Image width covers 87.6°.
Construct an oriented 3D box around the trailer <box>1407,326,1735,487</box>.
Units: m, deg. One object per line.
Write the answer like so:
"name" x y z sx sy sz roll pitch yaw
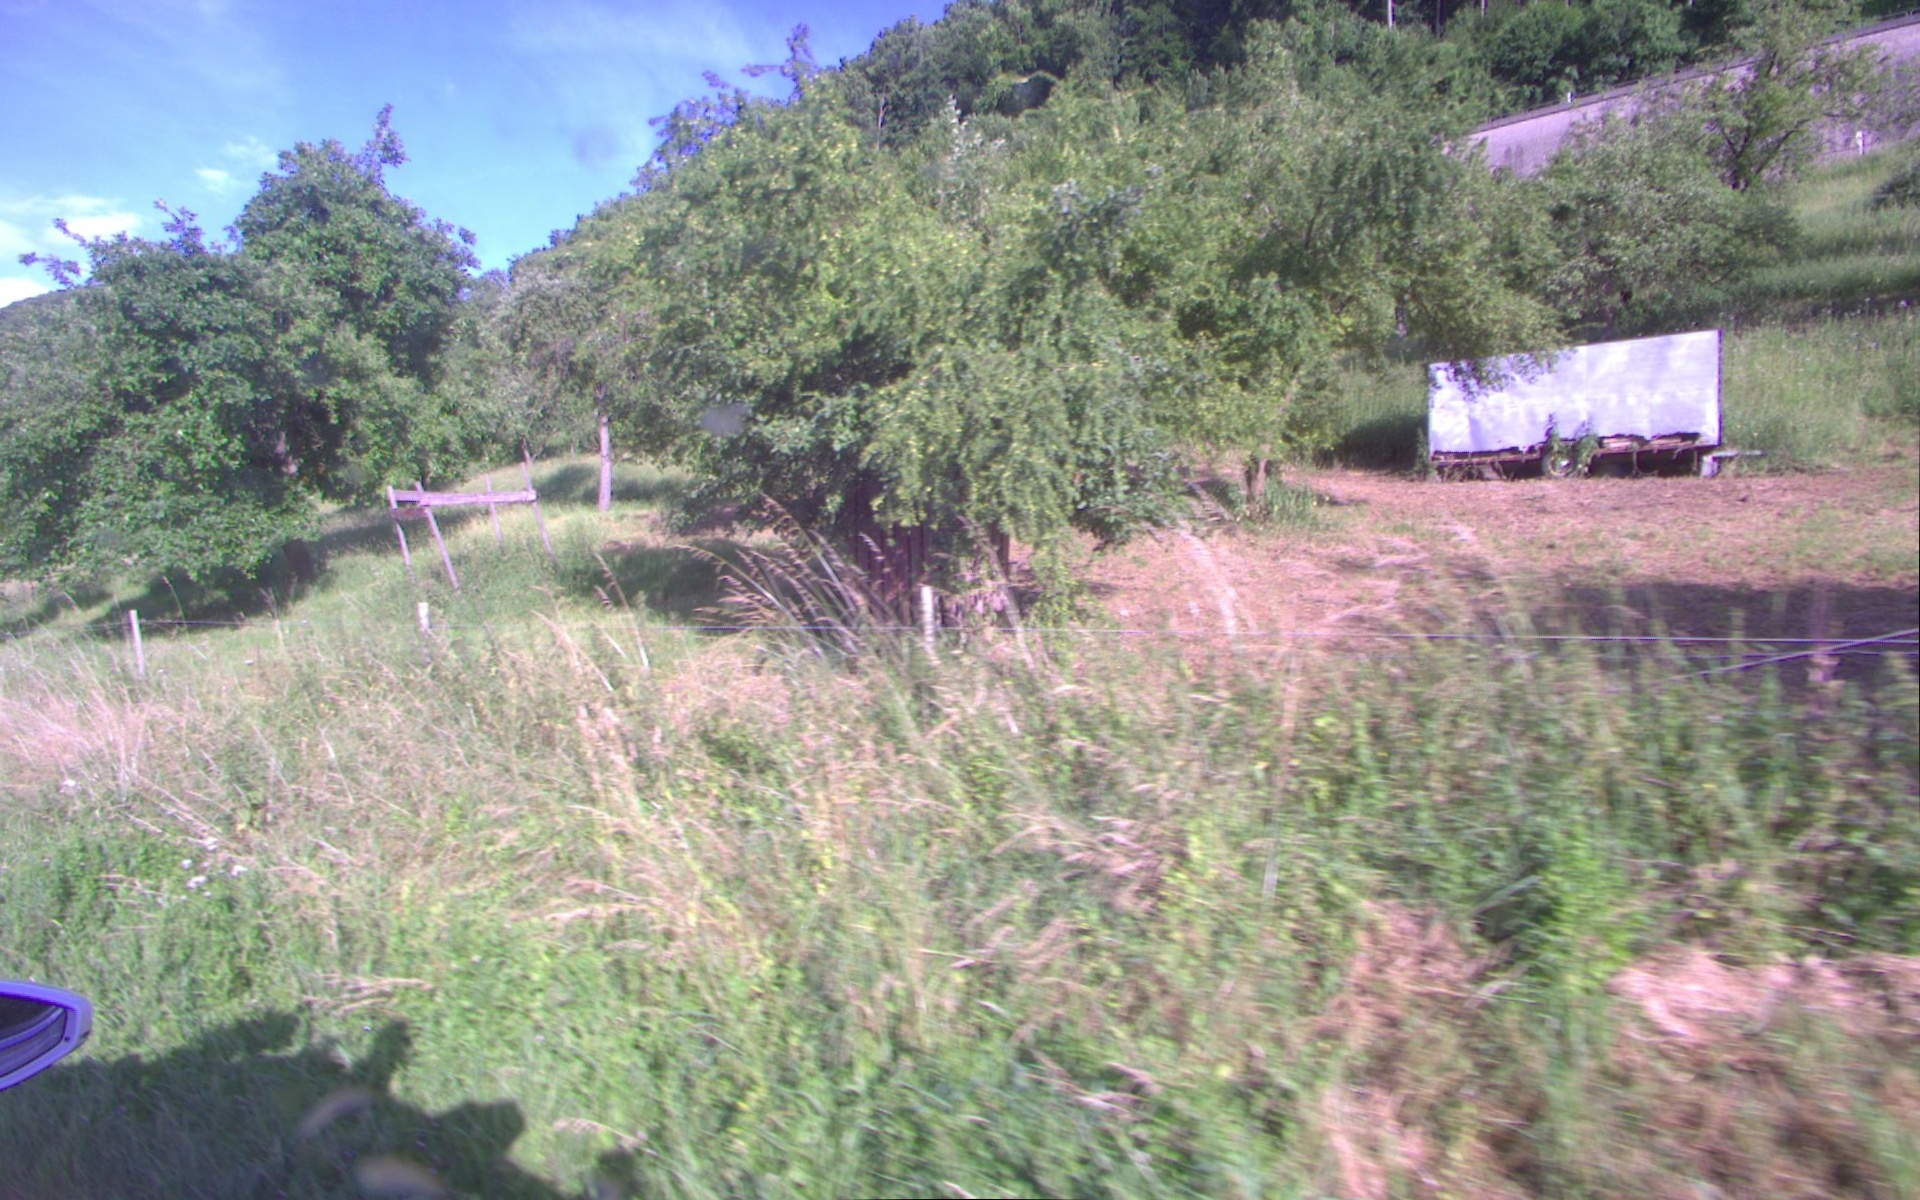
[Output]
"trailer" 11.814 -3.646 19.835 5.165 2.595 2.149 3 4 29
